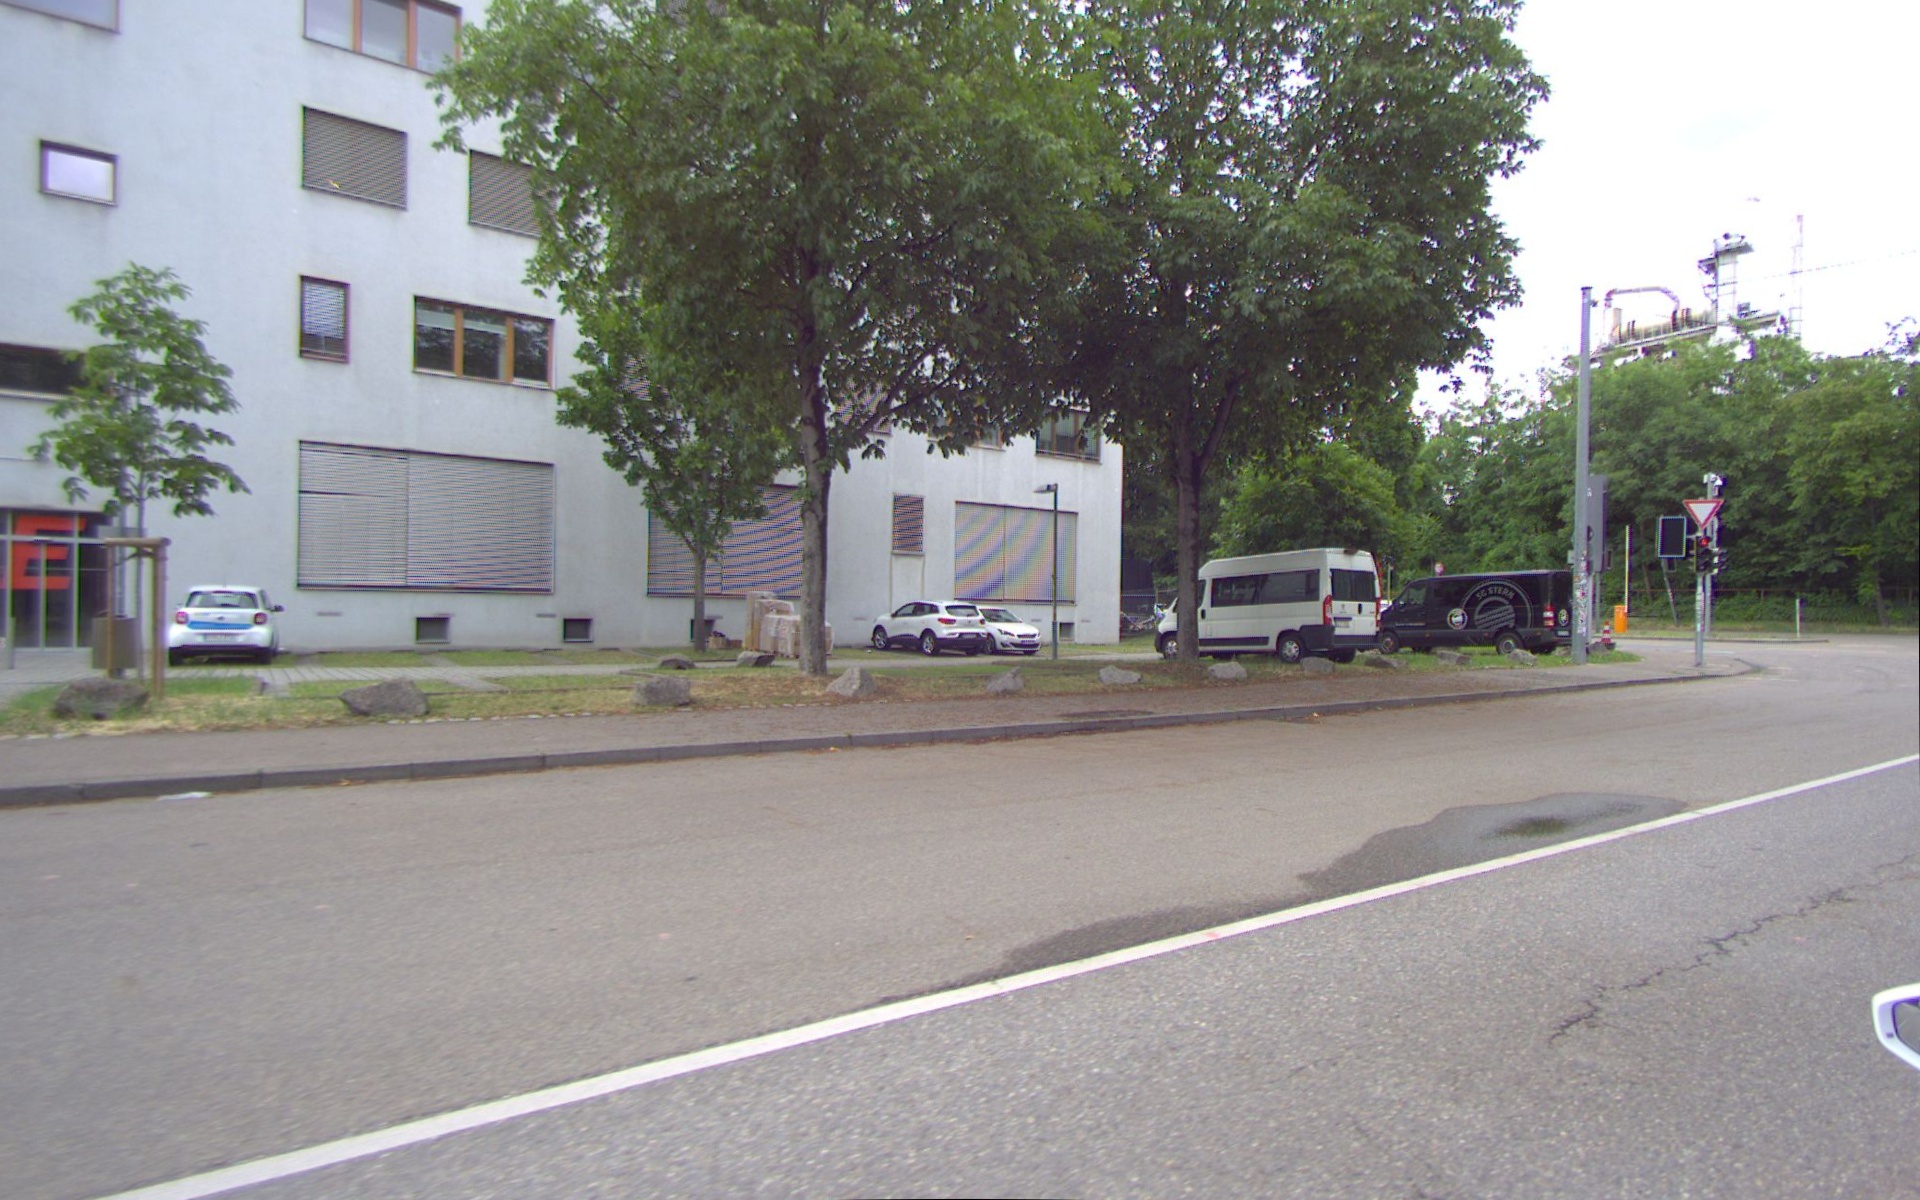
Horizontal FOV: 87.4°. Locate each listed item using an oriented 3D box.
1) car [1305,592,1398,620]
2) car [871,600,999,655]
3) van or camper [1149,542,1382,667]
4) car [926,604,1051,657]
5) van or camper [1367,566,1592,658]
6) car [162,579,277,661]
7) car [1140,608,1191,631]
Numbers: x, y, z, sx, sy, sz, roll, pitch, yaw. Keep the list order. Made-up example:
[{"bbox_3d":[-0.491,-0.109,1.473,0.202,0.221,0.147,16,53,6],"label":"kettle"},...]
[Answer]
[{"bbox_3d":[22.313,0.327,57.446,1.883,1.475,4.638,3,-1,-38],"label":"car"},{"bbox_3d":[-0.832,0.808,30.581,1.883,1.475,3.967,3,-1,-38],"label":"car"},{"bbox_3d":[6.990,0.091,23.488,2.042,2.604,4.937,3,-1,-35],"label":"van or camper"},{"bbox_3d":[0.842,0.957,32.076,1.883,1.475,3.967,3,-1,-38],"label":"car"},{"bbox_3d":[14.698,0.441,28.815,2.039,2.343,5.506,3,-3,-32],"label":"van or camper"},{"bbox_3d":[-15.103,0.377,20.634,1.675,1.520,3.590,3,-1,-34],"label":"car"},{"bbox_3d":[14.110,1.340,69.082,1.484,1.440,3.281,3,-1,-34],"label":"car"}]
